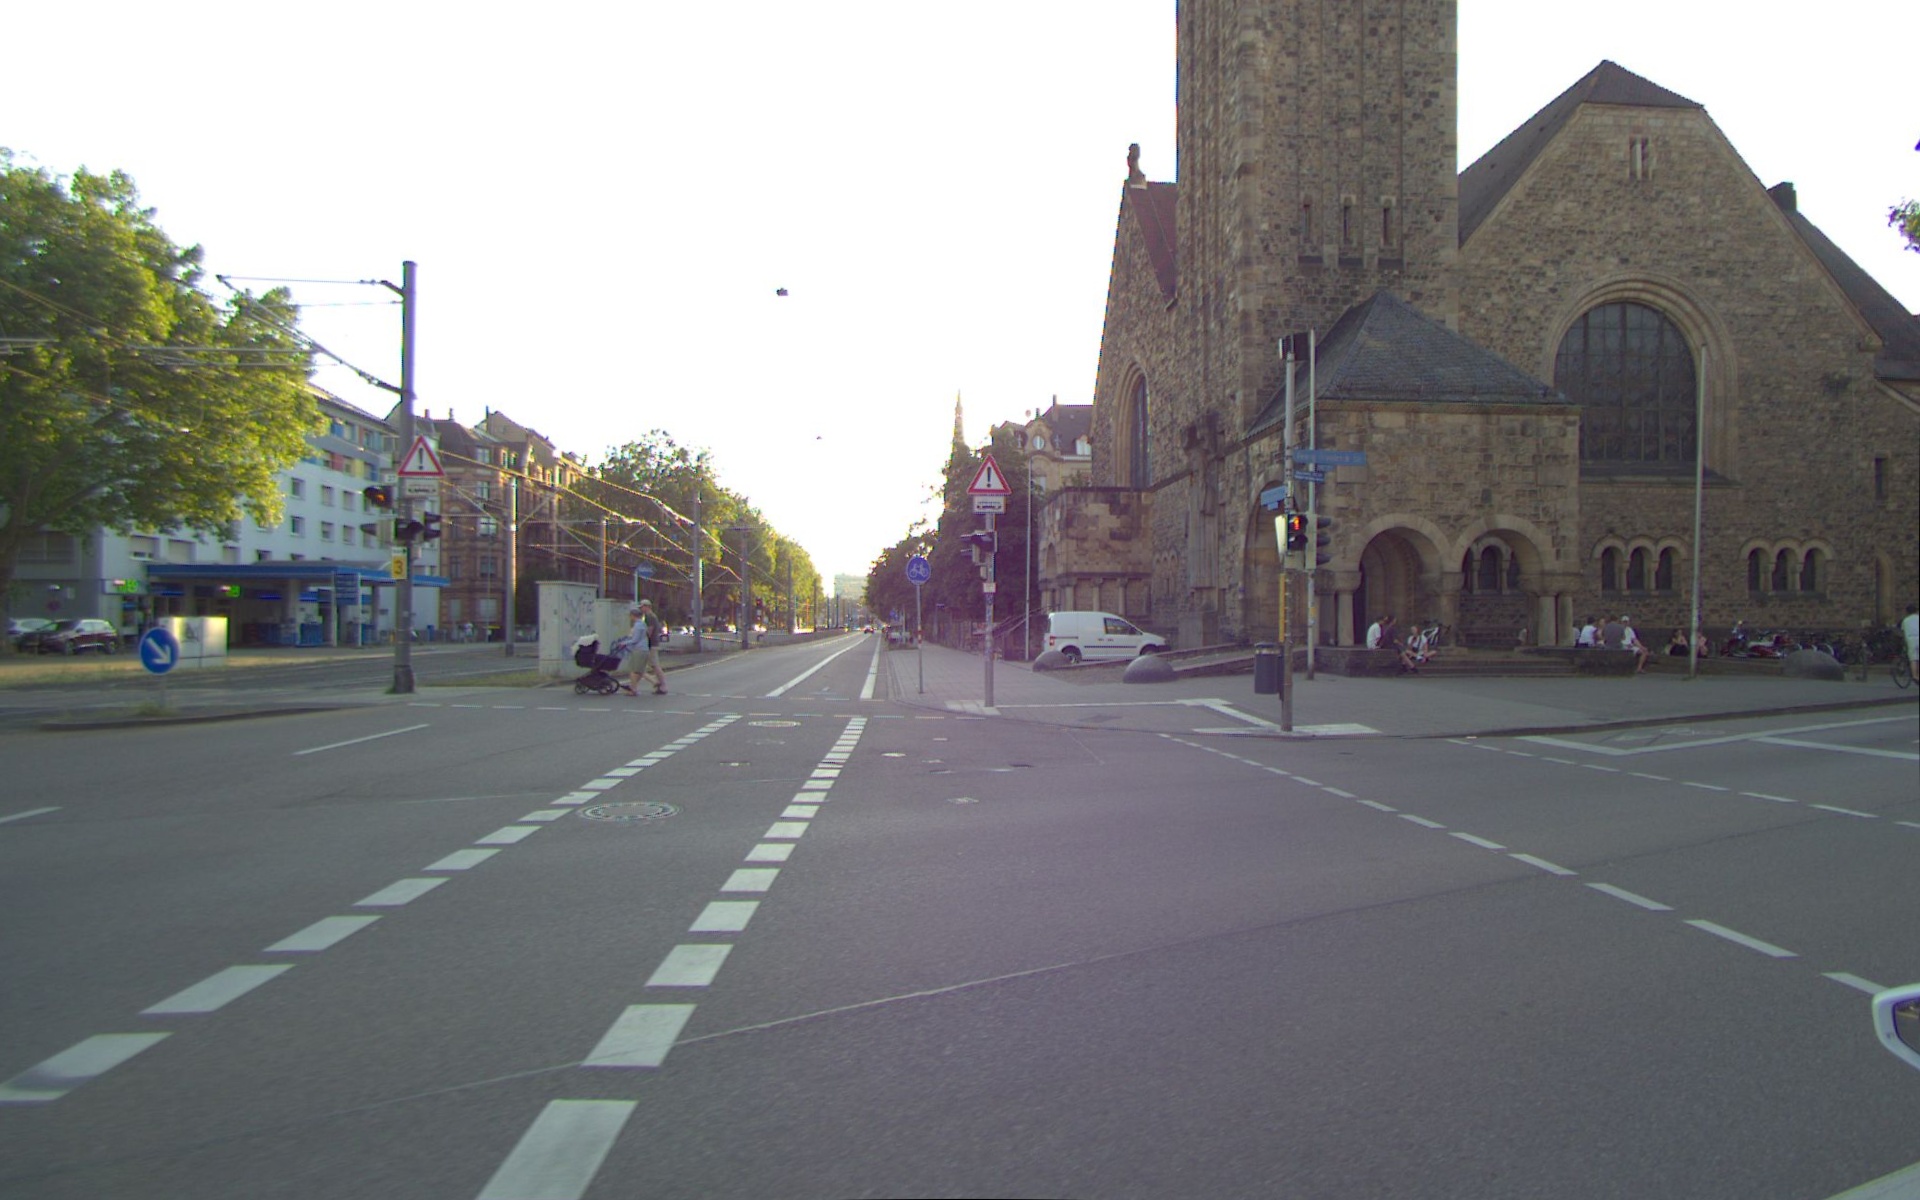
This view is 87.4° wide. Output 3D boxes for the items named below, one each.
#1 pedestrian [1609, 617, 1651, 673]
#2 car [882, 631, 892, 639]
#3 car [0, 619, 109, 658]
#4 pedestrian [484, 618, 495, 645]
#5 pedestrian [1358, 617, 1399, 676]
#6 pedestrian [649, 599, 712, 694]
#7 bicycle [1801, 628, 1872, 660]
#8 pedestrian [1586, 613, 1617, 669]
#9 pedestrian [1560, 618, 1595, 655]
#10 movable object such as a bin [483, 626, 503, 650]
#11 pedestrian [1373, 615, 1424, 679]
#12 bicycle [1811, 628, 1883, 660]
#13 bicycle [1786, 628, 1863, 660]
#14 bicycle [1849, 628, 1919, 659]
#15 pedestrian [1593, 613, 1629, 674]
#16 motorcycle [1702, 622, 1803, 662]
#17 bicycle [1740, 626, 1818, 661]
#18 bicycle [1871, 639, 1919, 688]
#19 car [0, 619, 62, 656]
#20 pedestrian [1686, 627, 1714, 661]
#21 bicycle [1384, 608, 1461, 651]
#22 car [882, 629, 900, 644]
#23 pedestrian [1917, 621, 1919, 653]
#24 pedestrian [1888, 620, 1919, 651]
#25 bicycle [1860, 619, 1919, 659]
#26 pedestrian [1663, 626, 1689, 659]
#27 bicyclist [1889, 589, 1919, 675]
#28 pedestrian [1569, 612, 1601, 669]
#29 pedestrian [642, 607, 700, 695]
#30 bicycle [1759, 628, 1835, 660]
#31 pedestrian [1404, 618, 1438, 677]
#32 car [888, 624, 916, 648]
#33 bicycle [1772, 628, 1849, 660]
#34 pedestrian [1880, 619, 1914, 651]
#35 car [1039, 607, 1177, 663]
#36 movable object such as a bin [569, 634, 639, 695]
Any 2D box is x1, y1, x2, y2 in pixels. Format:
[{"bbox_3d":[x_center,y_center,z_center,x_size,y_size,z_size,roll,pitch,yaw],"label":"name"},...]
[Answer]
[{"bbox_3d":[17.099,1.142,25.628,0.619,1.425,0.704,0,-1,6],"label":"pedestrian"},{"bbox_3d":[-13.345,6.358,183.158,1.721,1.437,3.997,0,-1,-6],"label":"car"},{"bbox_3d":[-40.338,1.674,44.471,1.961,1.634,3.999,0,-1,-2],"label":"car"},{"bbox_3d":[-35.772,2.422,76.410,0.547,2.040,0.608,0,-1,-4],"label":"pedestrian"},{"bbox_3d":[10.147,1.122,24.384,0.685,1.393,0.804,0,-1,4],"label":"pedestrian"},{"bbox_3d":[-5.585,0.917,20.121,1.139,1.871,0.710,0,-1,-9],"label":"pedestrian"},{"bbox_3d":[28.581,1.432,32.777,0.364,1.002,1.880,0,-1,-14],"label":"bicycle"},{"bbox_3d":[16.412,1.046,25.700,0.449,1.425,0.548,0,-1,6],"label":"pedestrian"},{"bbox_3d":[18.828,1.100,30.655,0.672,1.109,1.333,0,-1,21],"label":"pedestrian"},{"bbox_3d":[-40.826,3.334,87.809,1.478,2.040,1.347,0,-1,-33],"label":"movable object such as a bin"},{"bbox_3d":[10.312,1.100,23.634,0.897,1.473,0.630,0,-1,-3],"label":"pedestrian"},{"bbox_3d":[29.019,1.434,32.893,0.364,1.002,1.879,0,-1,-14],"label":"bicycle"},{"bbox_3d":[28.122,1.420,32.719,0.458,1.002,1.985,0,-1,-14],"label":"bicycle"},{"bbox_3d":[30.376,1.412,32.959,0.434,1.002,1.880,0,-1,-14],"label":"bicycle"},{"bbox_3d":[15.866,1.056,24.487,0.546,1.472,0.551,0,-1,6],"label":"pedestrian"},{"bbox_3d":[24.997,1.308,31.741,0.811,1.141,2.407,0,1,-25],"label":"motorcycle"},{"bbox_3d":[26.469,1.394,32.496,0.575,1.002,2.002,0,2,-14],"label":"bicycle"},{"bbox_3d":[21.377,1.431,22.919,2.169,1.026,0.547,1,0,-39],"label":"bicycle"},{"bbox_3d":[-42.659,1.661,44.778,1.749,1.595,3.999,0,-1,-2],"label":"car"},{"bbox_3d":[22.274,1.319,30.249,0.551,1.005,0.695,-1,-1,27],"label":"pedestrian"},{"bbox_3d":[12.082,0.772,26.328,0.584,1.071,2.282,0,-2,-11],"label":"bicycle"},{"bbox_3d":[-6.948,3.705,101.186,1.721,1.437,3.997,0,-1,-6],"label":"car"},{"bbox_3d":[32.461,1.236,33.474,0.688,1.070,0.516,0,-1,-12],"label":"pedestrian"},{"bbox_3d":[31.981,1.198,34.059,0.596,1.062,0.498,0,-1,-9],"label":"pedestrian"},{"bbox_3d":[30.829,1.277,33.125,0.430,1.265,1.729,0,-1,-15],"label":"bicycle"},{"bbox_3d":[21.722,1.285,30.475,0.551,0.980,0.649,-1,-1,27],"label":"pedestrian"},{"bbox_3d":[21.552,0.703,22.652,0.933,1.905,0.701,0,0,-35],"label":"bicyclist"},{"bbox_3d":[15.617,1.011,25.109,0.537,1.425,0.402,0,-1,6],"label":"pedestrian"},{"bbox_3d":[-5.561,0.978,19.377,0.989,1.656,0.719,0,-1,-9],"label":"pedestrian"},{"bbox_3d":[27.122,1.422,32.584,0.458,1.002,2.003,0,-1,-14],"label":"bicycle"},{"bbox_3d":[11.114,1.140,24.224,0.686,1.393,0.803,-1,-1,22],"label":"pedestrian"},{"bbox_3d":[-3.952,2.396,68.161,1.799,1.572,3.915,0,-1,-5],"label":"car"},{"bbox_3d":[27.620,1.424,32.654,0.458,1.002,2.003,0,-1,-14],"label":"bicycle"},{"bbox_3d":[31.390,1.175,33.644,0.726,1.062,0.519,0,-1,31],"label":"pedestrian"},{"bbox_3d":[4.890,1.161,33.536,4.320,1.832,1.584,0,-1,-3],"label":"car"},{"bbox_3d":[-6.780,1.218,19.196,1.117,1.134,0.861,0,-1,-9],"label":"movable object such as a bin"}]
